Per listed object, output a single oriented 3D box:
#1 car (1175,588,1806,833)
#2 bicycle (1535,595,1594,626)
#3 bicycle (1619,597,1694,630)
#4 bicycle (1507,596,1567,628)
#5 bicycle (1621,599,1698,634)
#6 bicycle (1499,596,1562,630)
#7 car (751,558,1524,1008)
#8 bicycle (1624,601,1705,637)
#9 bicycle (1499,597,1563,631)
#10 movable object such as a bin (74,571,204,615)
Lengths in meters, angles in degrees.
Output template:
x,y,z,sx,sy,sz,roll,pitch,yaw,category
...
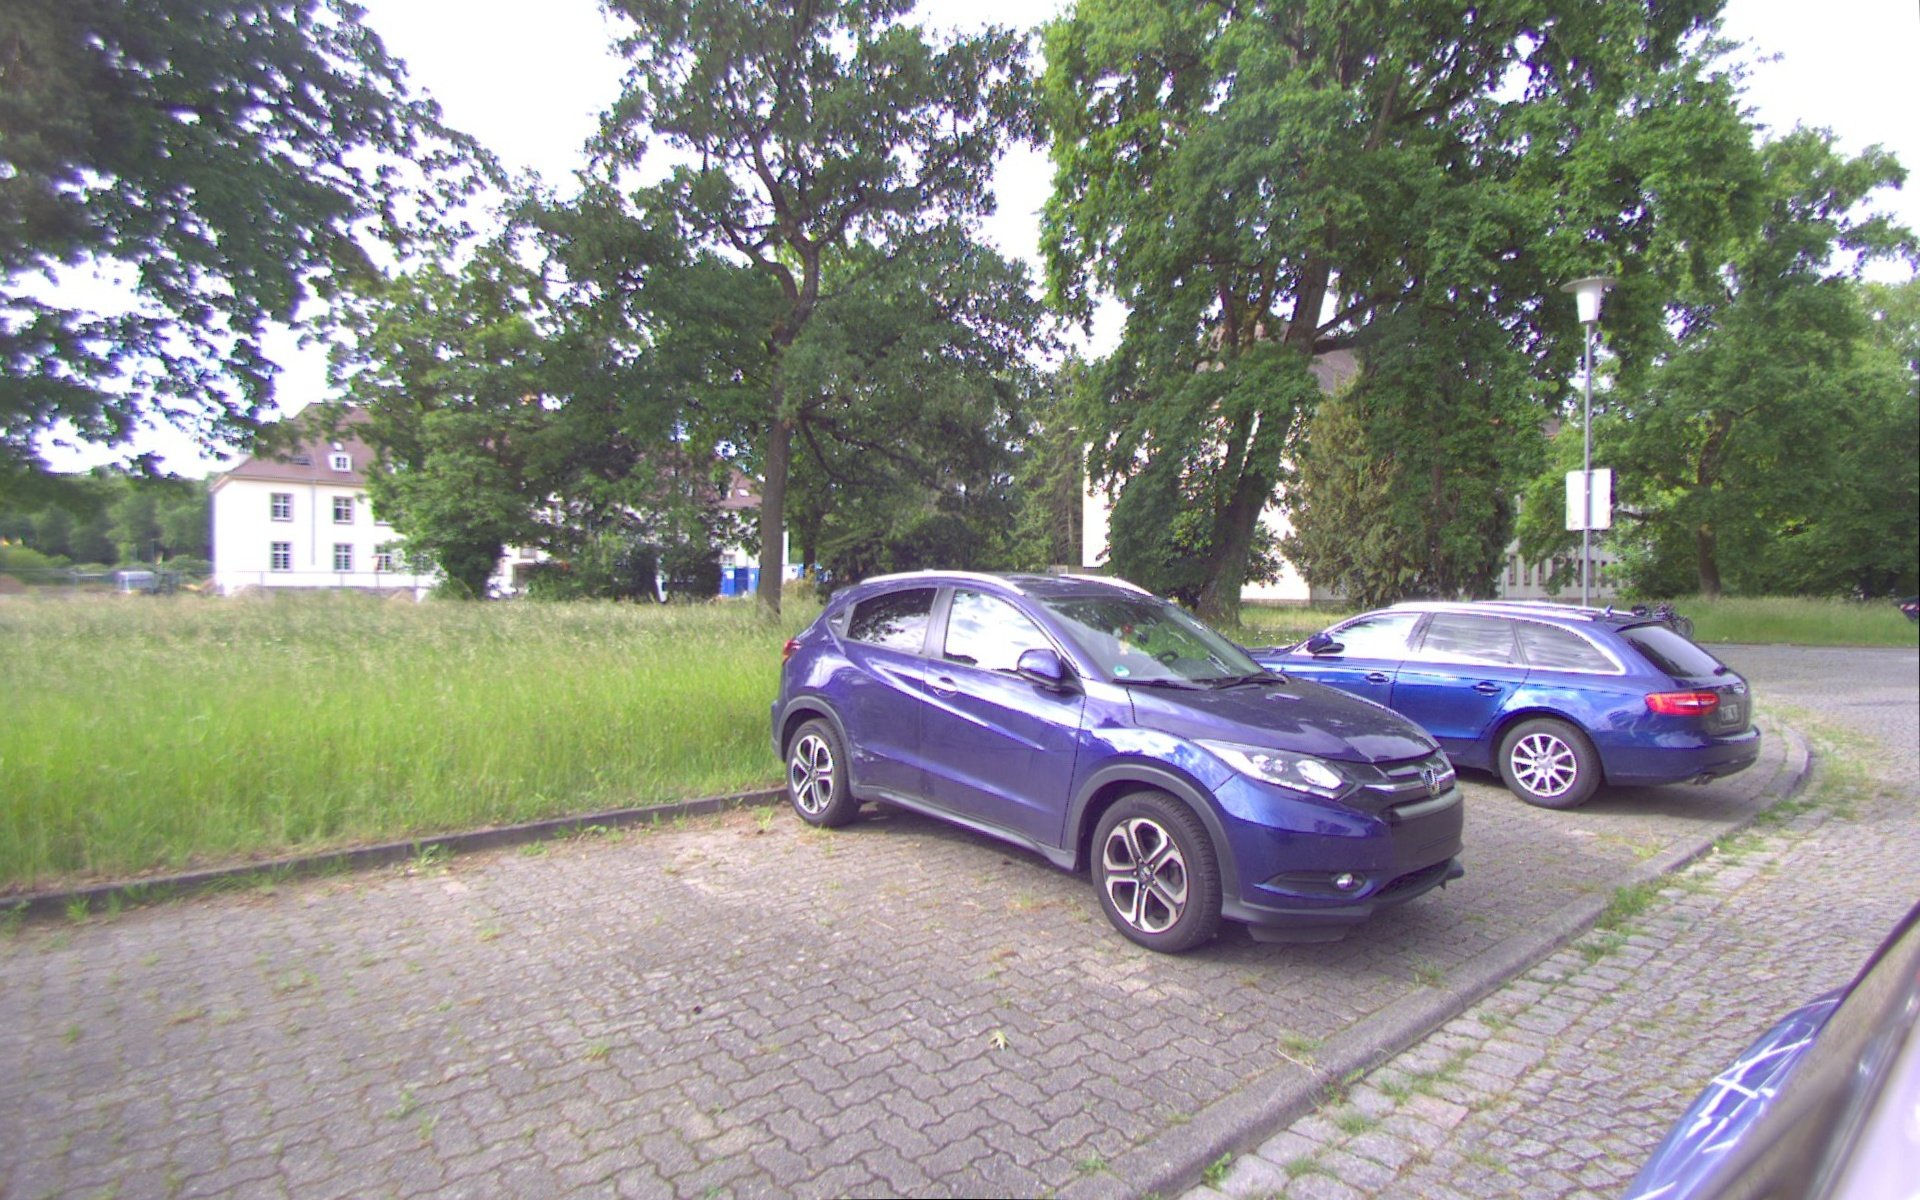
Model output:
x,y,z,sx,sy,sz,roll,pitch,yaw,category
4.171,0.669,8.700,1.752,1.439,4.482,0,2,-38,car
22.454,0.396,37.630,1.839,1.137,0.616,0,0,27,bicycle
23.758,0.446,34.547,2.009,1.090,0.616,0,0,27,bicycle
20.693,0.433,36.333,1.839,1.137,0.616,0,0,27,bicycle
22.588,0.519,32.732,1.950,1.090,0.584,0,0,22,bicycle
19.709,0.451,34.975,1.839,1.137,0.616,0,0,27,bicycle
0.627,0.596,5.743,1.762,1.591,4.170,-1,2,-41,car
21.764,0.572,31.306,1.950,1.090,0.584,0,0,22,bicycle
19.392,0.458,34.424,1.839,1.137,0.616,0,0,27,bicycle
-50.930,-0.449,62.945,5.853,2.688,2.179,-1,0,-24,movable object such as a bin
